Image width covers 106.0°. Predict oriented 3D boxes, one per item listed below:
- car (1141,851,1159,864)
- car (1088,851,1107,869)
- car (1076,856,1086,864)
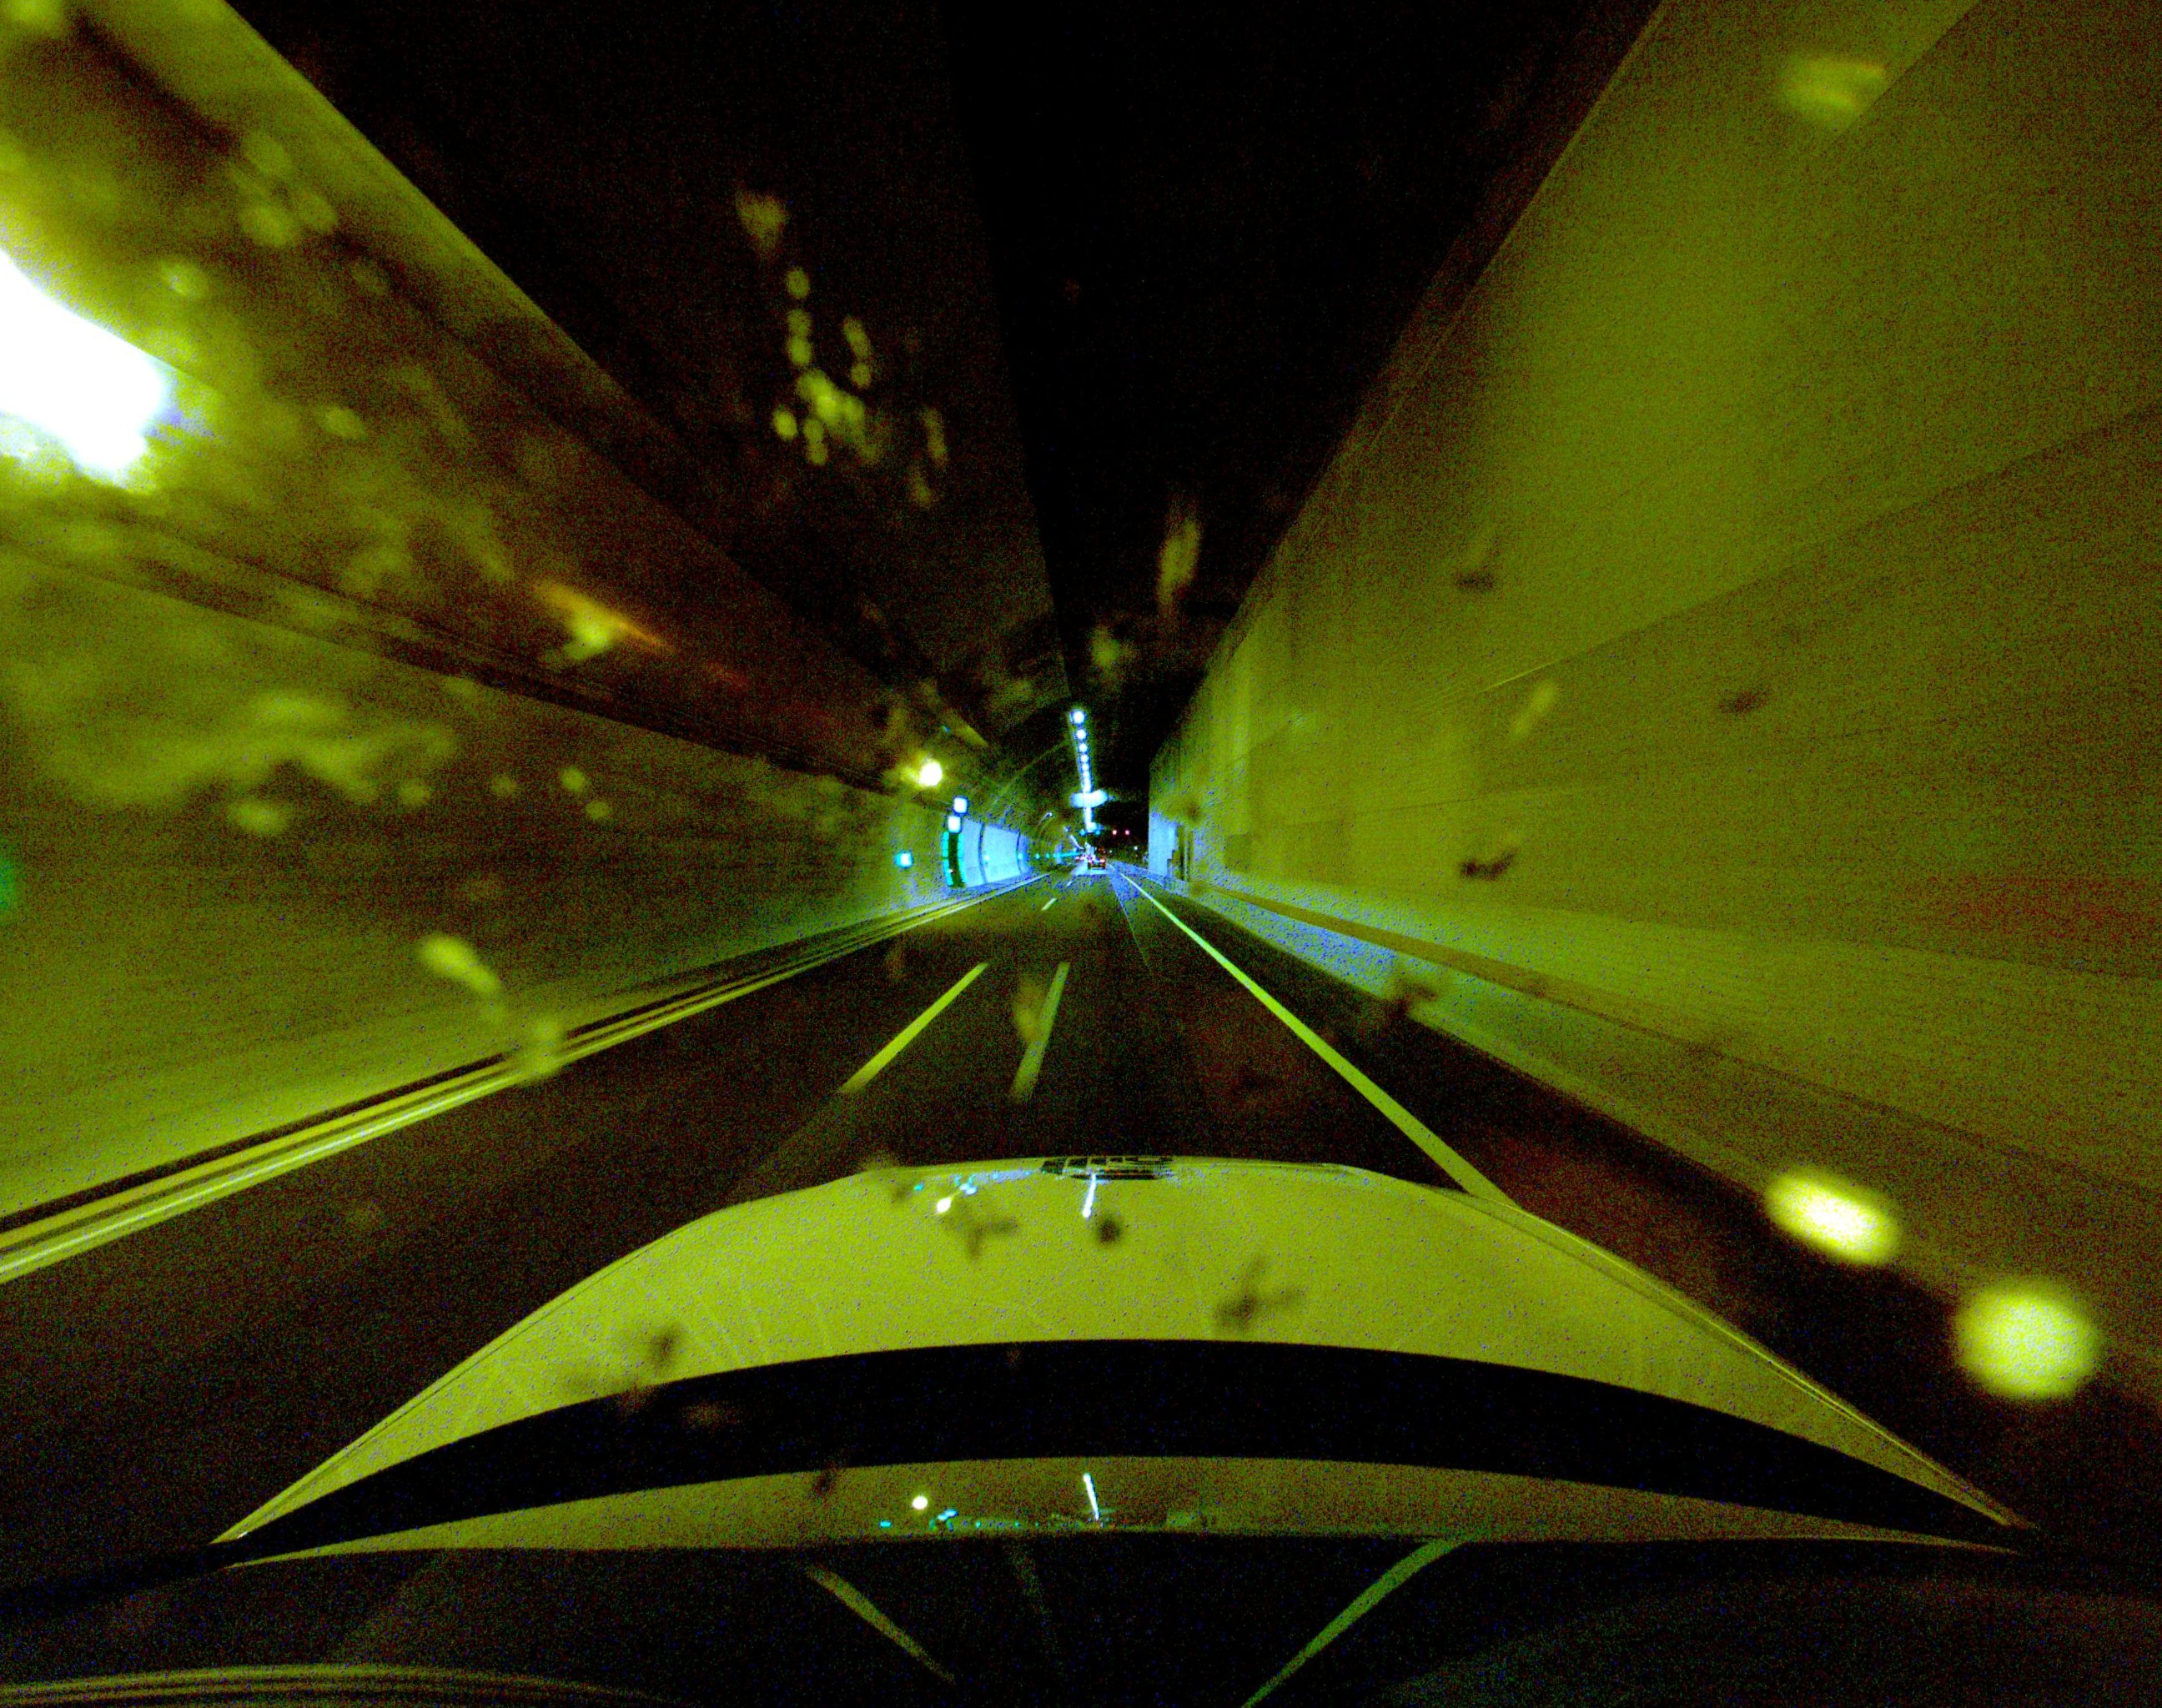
[{"bbox_3d":[9.869,0.489,116.914,1.747,1.845,4.639,-2,0,-4],"label":"car"},{"bbox_3d":[1.688,0.655,86.119,1.940,1.794,4.000,-1,0,0],"label":"car"},{"bbox_3d":[0.026,1.222,175.935,1.923,1.687,4.001,-1,0,1],"label":"car"}]
